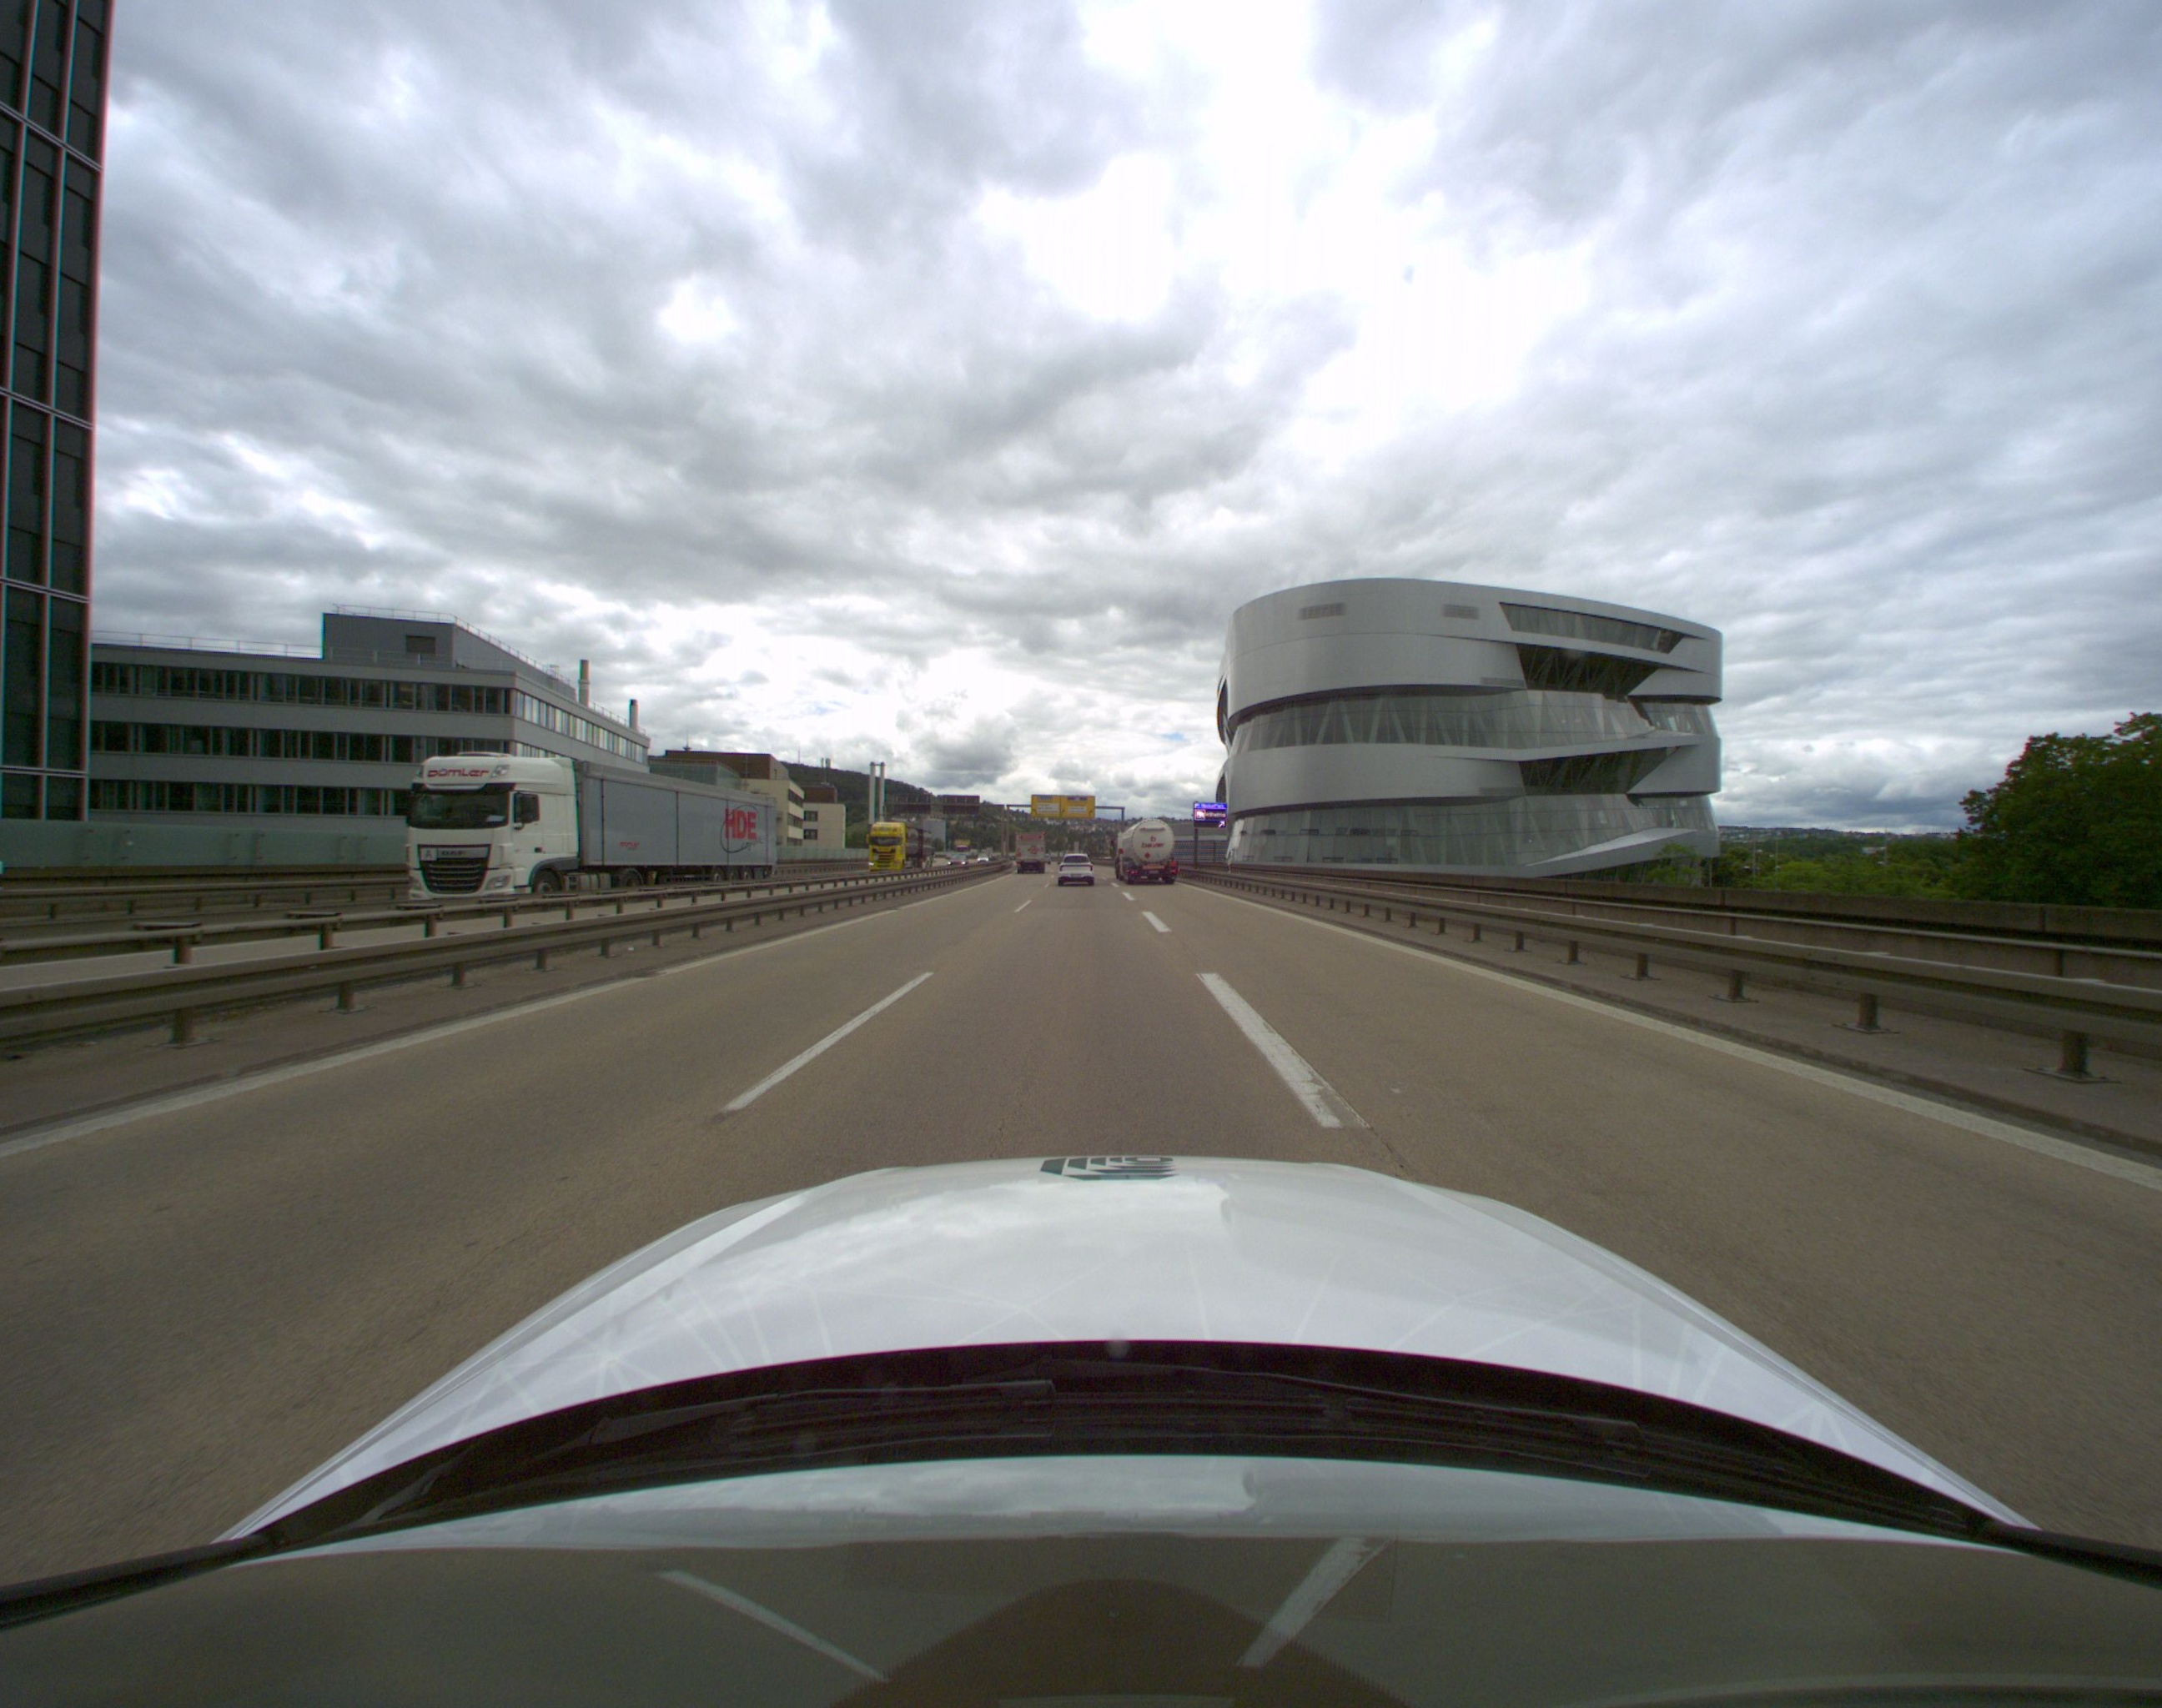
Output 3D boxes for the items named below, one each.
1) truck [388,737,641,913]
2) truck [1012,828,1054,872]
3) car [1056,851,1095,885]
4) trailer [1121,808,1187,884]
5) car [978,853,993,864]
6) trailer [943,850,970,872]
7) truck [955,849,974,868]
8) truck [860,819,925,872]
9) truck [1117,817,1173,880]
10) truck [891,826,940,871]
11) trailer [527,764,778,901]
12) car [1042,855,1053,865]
[{"bbox_3d":[-14.716,-0.641,21.783,2.763,4.079,5.645,0,-1,0],"label":"truck"},{"bbox_3d":[-4.202,-0.240,73.329,3.045,3.691,8.306,-1,-1,2],"label":"truck"},{"bbox_3d":[-0.281,0.747,43.196,1.987,1.675,4.407,0,-1,0],"label":"car"},{"bbox_3d":[3.865,-0.339,45.238,3.046,3.790,8.304,-1,-1,1],"label":"trailer"},{"bbox_3d":[-15.285,0.702,130.326,1.989,1.606,4.801,0,-1,-3],"label":"car"},{"bbox_3d":[-12.003,0.695,78.848,1.987,2.014,3.999,0,-1,0],"label":"trailer"},{"bbox_3d":[-24.003,1.003,167.908,3.051,3.776,12.497,0,-1,-4],"label":"truck"},{"bbox_3d":[-15.592,-0.538,68.385,3.049,4.065,11.846,0,-1,-2],"label":"truck"},{"bbox_3d":[3.900,-0.271,50.946,3.004,3.657,6.272,-1,-1,0],"label":"truck"},{"bbox_3d":[-15.908,-0.431,78.944,3.048,4.065,8.658,0,-1,-1],"label":"truck"},{"bbox_3d":[-14.725,-0.627,29.727,2.835,3.987,11.883,0,0,0],"label":"trailer"},{"bbox_3d":[-5.781,1.074,142.225,1.677,1.650,4.358,1,-1,0],"label":"car"}]
